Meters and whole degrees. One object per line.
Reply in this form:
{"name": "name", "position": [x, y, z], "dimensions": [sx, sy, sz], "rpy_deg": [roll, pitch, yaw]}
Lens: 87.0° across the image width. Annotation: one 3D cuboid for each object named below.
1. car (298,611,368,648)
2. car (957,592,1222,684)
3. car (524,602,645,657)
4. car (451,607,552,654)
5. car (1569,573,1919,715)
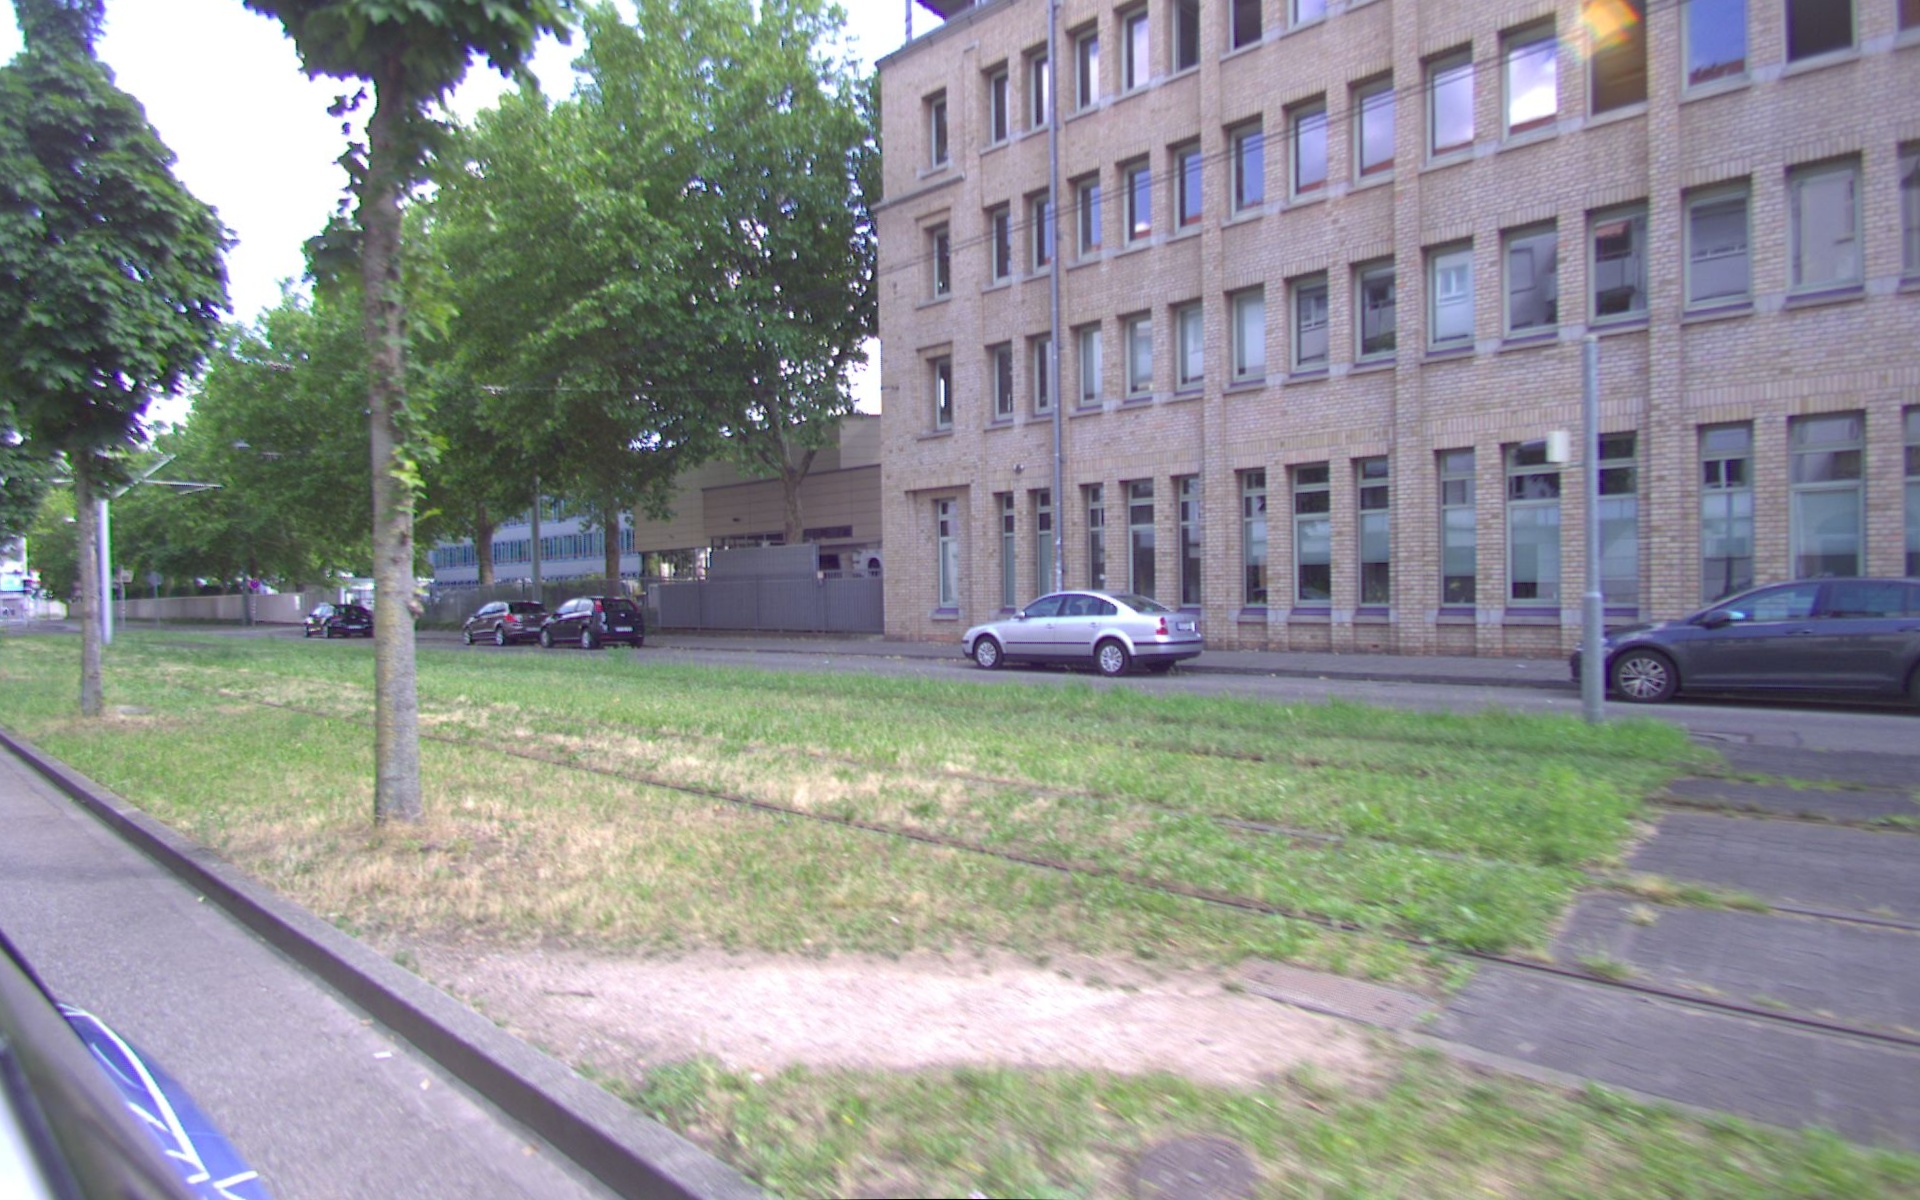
{"name": "car", "position": [-27.015, 1.247, 43.552], "dimensions": [4.000, 1.475, 1.580], "rpy_deg": [-1, 0, 43]}
{"name": "car", "position": [2.169, 0.618, 17.873], "dimensions": [4.484, 1.406, 1.697], "rpy_deg": [-1, 0, 43]}
{"name": "car", "position": [-10.999, 0.827, 29.527], "dimensions": [4.001, 1.464, 1.783], "rpy_deg": [-1, 0, 44]}
{"name": "car", "position": [-15.075, 0.974, 33.190], "dimensions": [3.900, 1.436, 1.538], "rpy_deg": [-1, 0, 42]}
{"name": "car", "position": [9.499, 0.431, 11.390], "dimensions": [4.239, 1.406, 1.912], "rpy_deg": [-1, 0, 43]}
